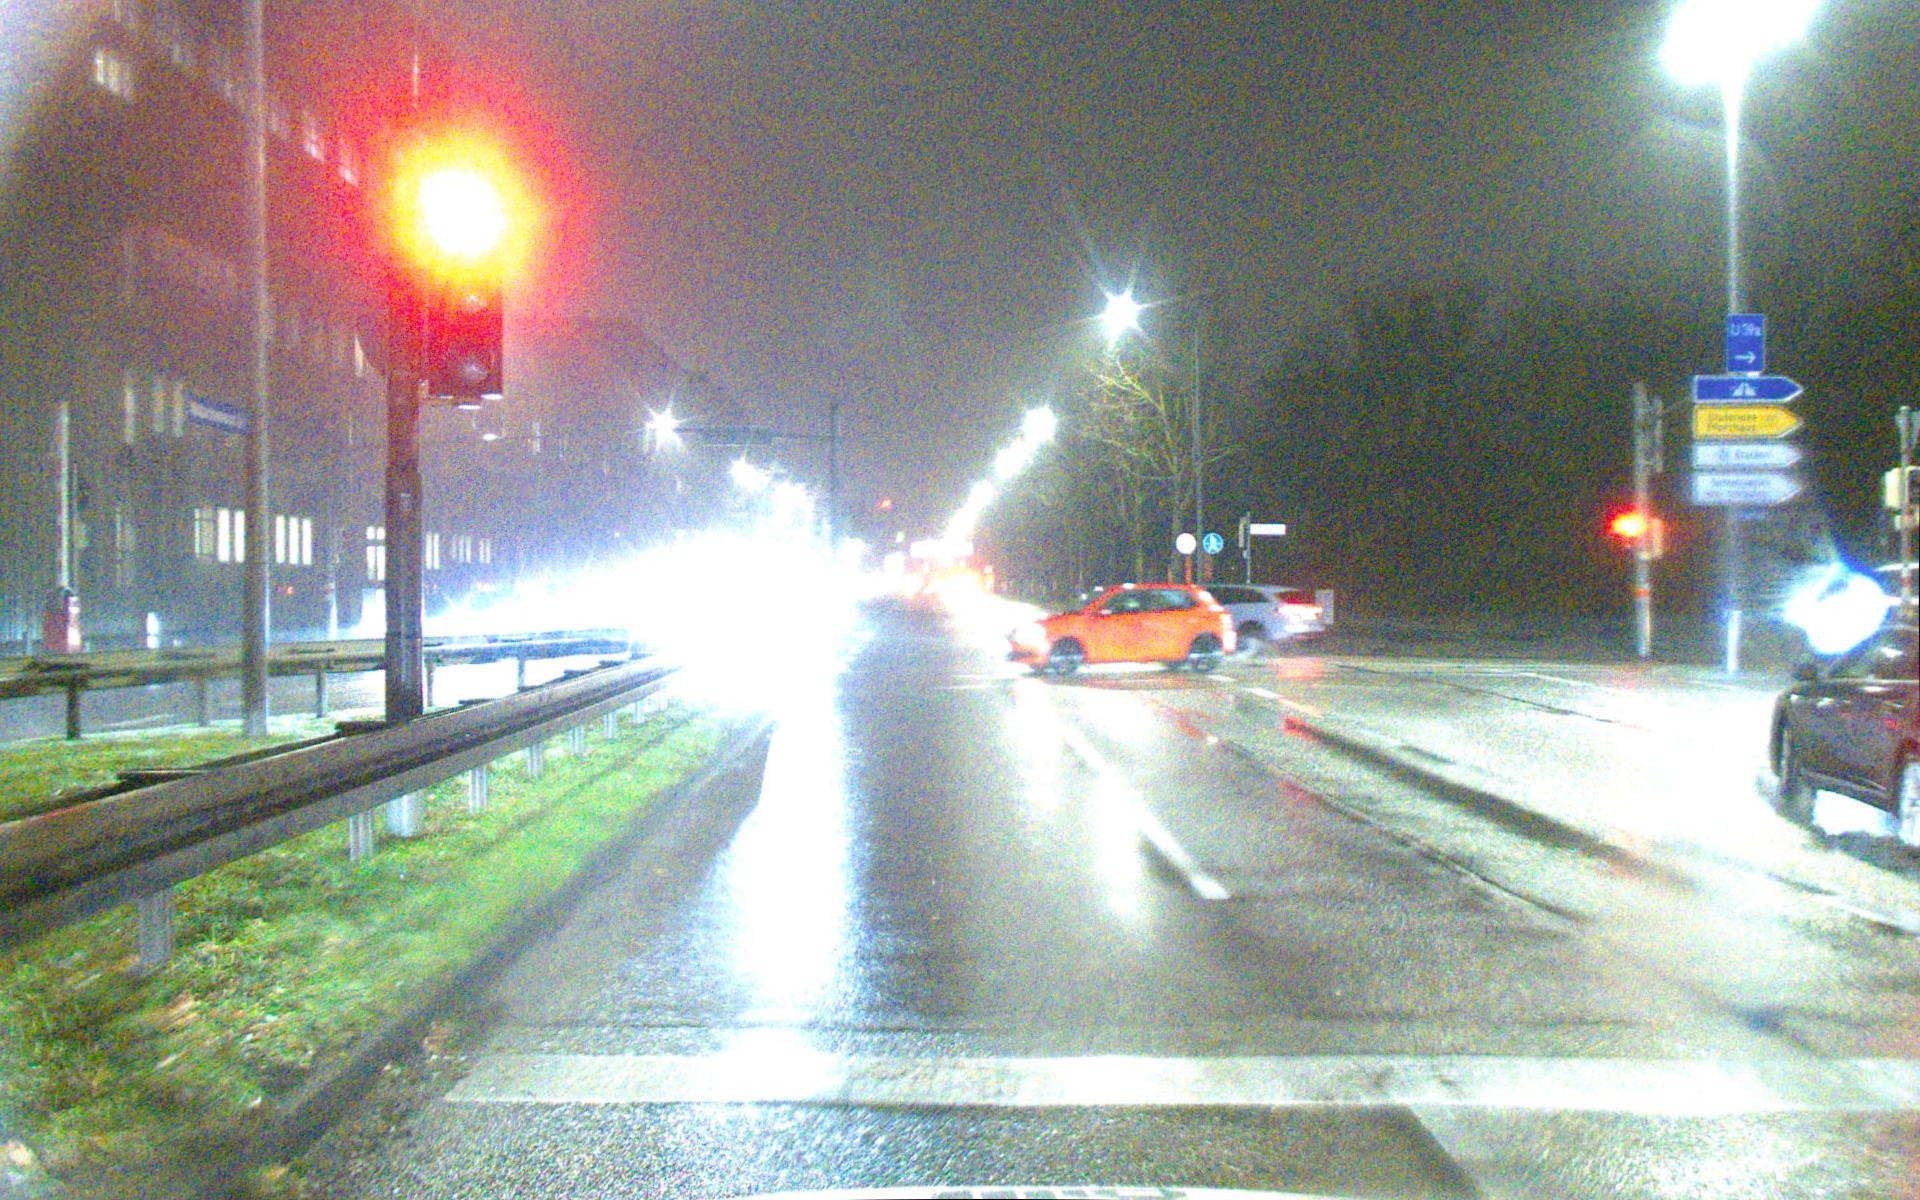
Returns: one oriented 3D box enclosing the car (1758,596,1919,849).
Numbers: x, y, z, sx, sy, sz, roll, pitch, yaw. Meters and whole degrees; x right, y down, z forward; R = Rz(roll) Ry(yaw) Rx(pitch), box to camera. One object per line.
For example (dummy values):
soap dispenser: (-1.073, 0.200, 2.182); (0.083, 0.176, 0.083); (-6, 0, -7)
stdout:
car: (6.534, 0.712, 10.346); (1.714, 1.414, 4.570); (1, 1, 12)

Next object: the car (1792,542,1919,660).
car: (17.664, -0.001, 29.128); (4.986, 2.019, 2.001); (0, 0, 4)

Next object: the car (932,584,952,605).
car: (-1.655, -0.502, 154.422); (1.755, 1.907, 4.625); (1, 0, -2)

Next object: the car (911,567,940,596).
car: (-2.595, -1.374, 124.450); (1.954, 2.049, 4.628); (1, 0, -4)

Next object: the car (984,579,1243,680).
car: (2.537, 0.468, 27.781); (3.995, 1.616, 1.907); (0, 0, -11)

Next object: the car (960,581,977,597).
car: (1.026, -1.333, 200.494); (1.953, 1.790, 3.999); (1, 0, -1)

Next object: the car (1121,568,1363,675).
car: (6.165, 0.439, 36.216); (4.817, 2.182, 2.139); (1, 0, 27)
